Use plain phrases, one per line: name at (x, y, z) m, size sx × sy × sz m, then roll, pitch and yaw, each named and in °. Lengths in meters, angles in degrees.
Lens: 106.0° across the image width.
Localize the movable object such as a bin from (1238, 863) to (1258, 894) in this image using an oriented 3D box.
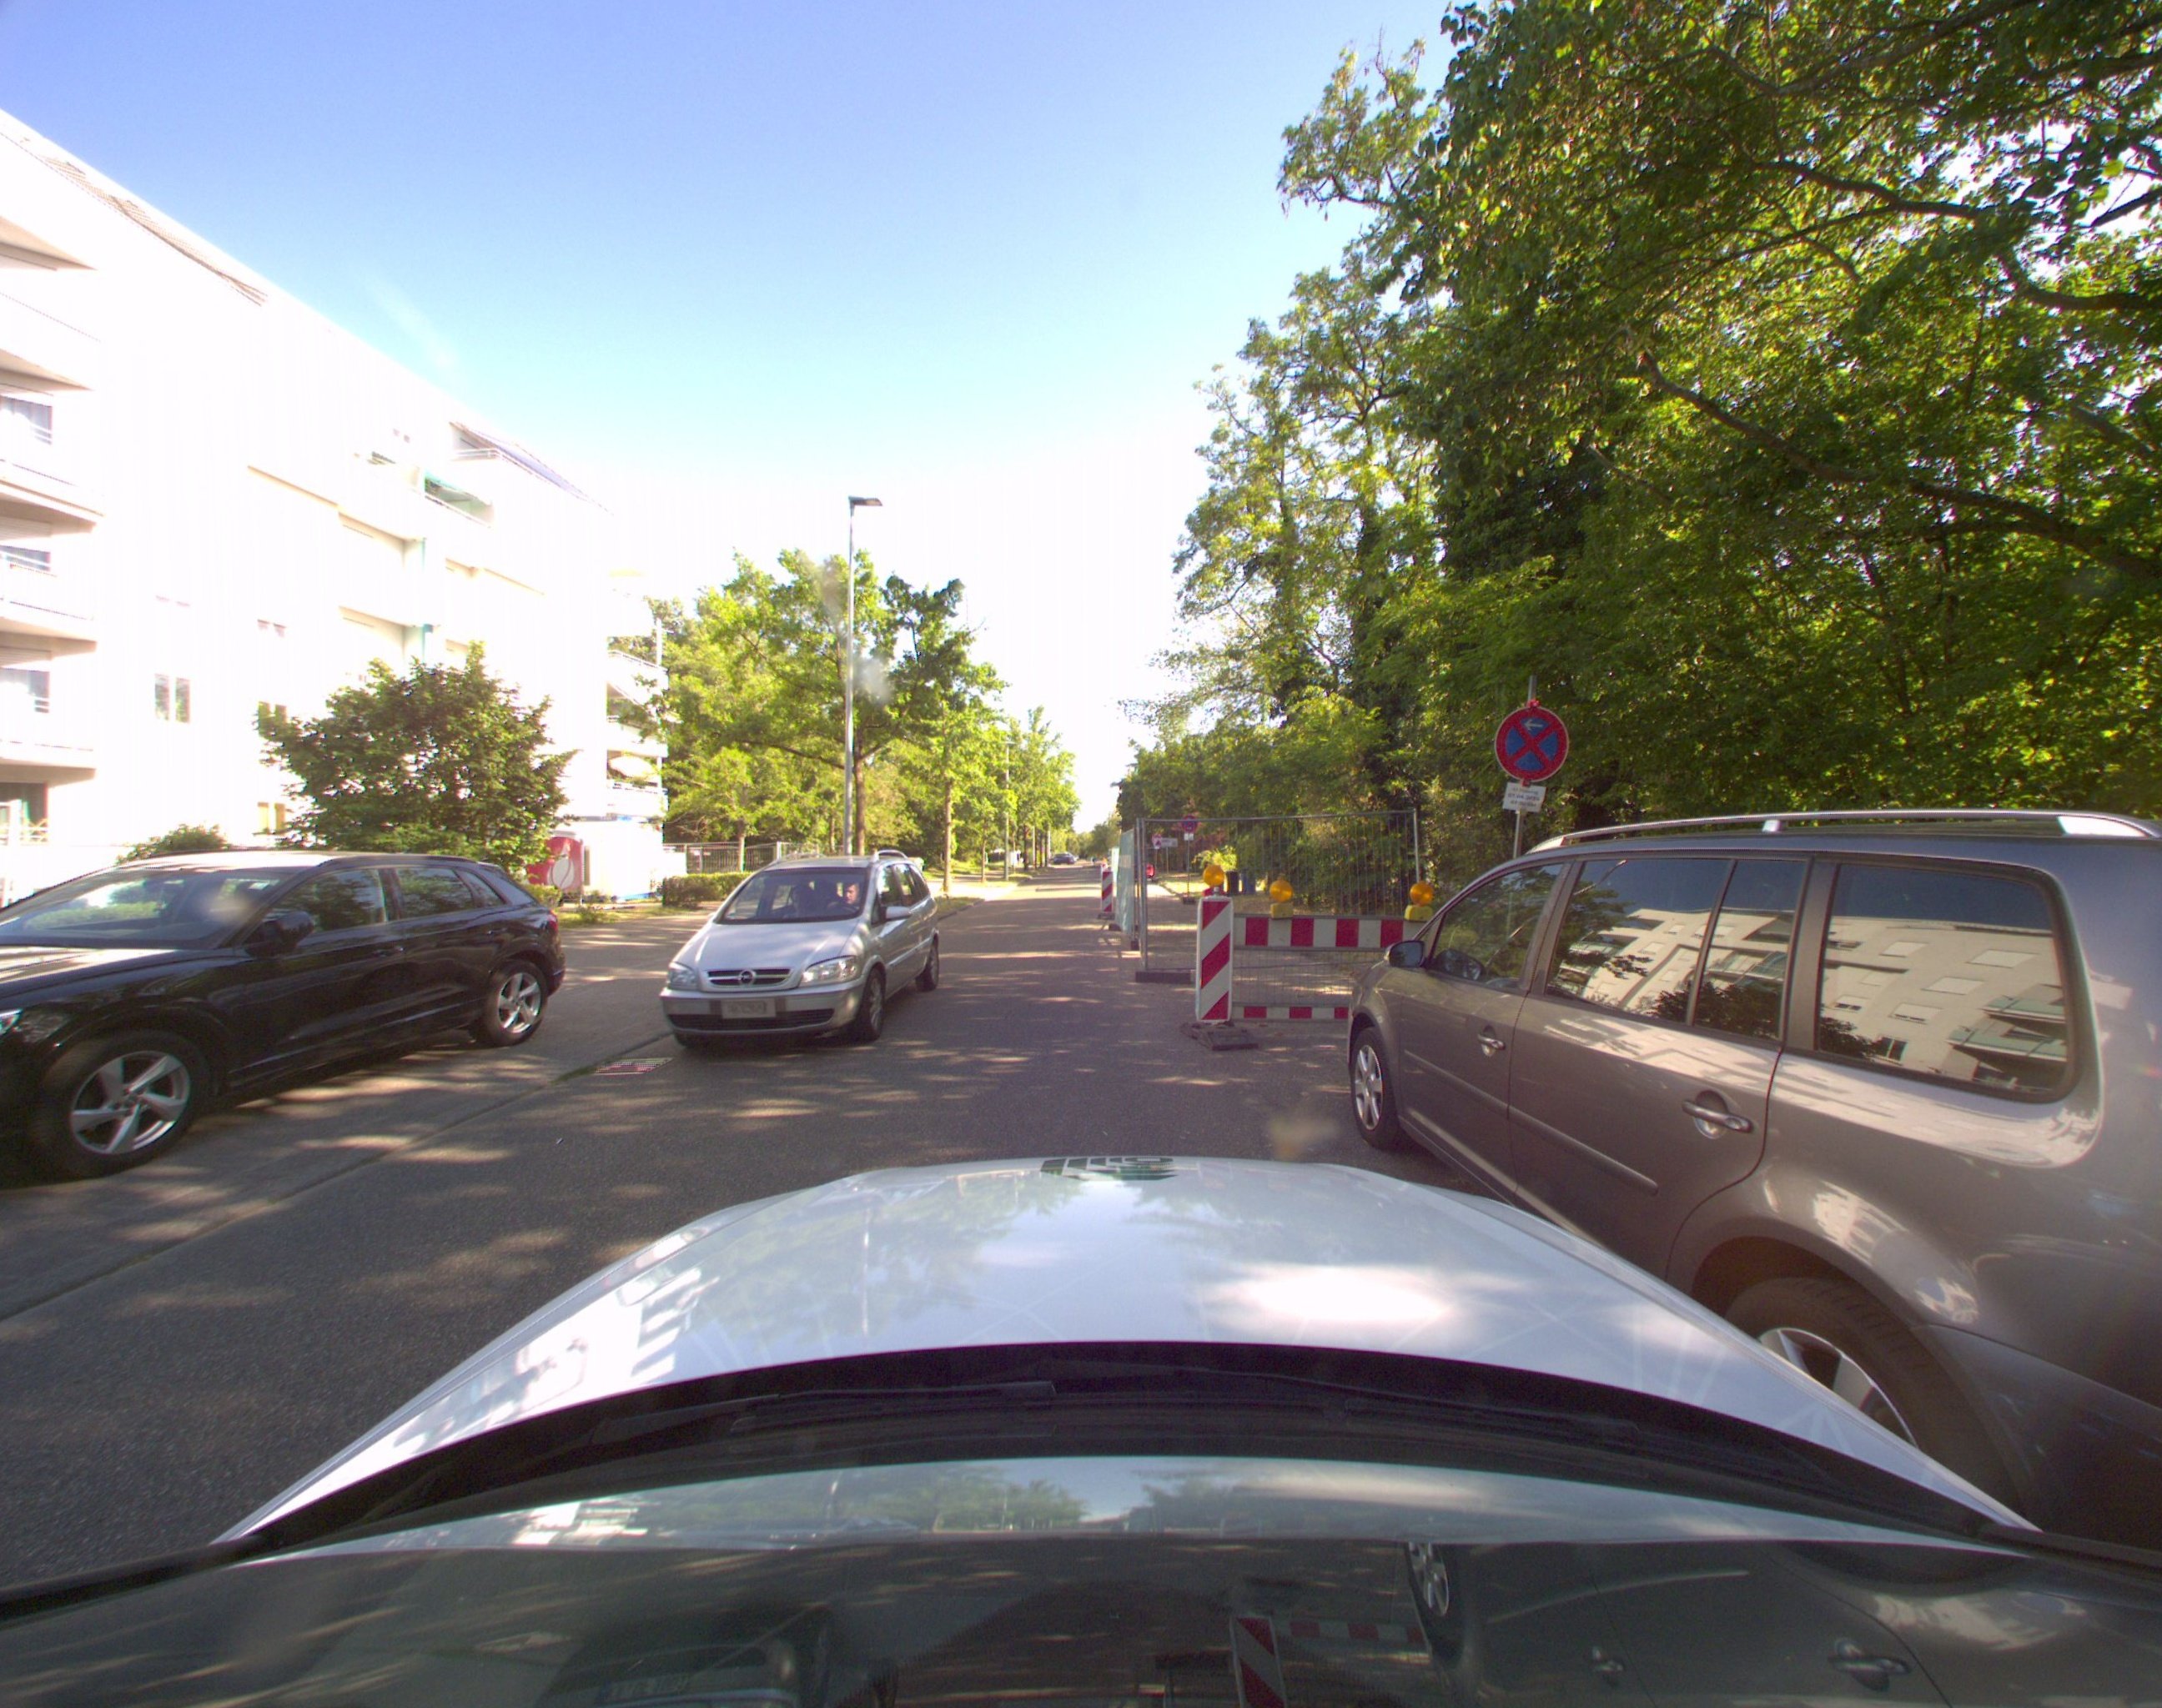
movable object such as a bin at (5.629, 0.830, 27.514) m, size 0.517 × 0.999 × 0.608 m, roll -2°, pitch -1°, yaw 1°

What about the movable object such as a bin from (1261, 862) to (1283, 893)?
movable object such as a bin at (6.479, 0.794, 27.606) m, size 0.560 × 0.999 × 0.608 m, roll -2°, pitch -1°, yaw 1°

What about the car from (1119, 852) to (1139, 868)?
car at (5.517, 0.724, 93.940) m, size 1.786 × 1.785 × 4.553 m, roll 1°, pitch 0°, yaw -2°

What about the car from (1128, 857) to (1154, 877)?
car at (4.258, 0.921, 58.198) m, size 1.655 × 1.375 × 4.155 m, roll 1°, pitch 0°, yaw 1°

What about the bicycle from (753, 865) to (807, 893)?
bicycle at (-11.564, 0.948, 31.320) m, size 1.870 × 1.027 × 0.399 m, roll -1°, pitch -1°, yaw -12°

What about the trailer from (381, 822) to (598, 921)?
trailer at (-14.236, 0.378, 19.999) m, size 1.855 × 2.120 × 4.351 m, roll 1°, pitch 0°, yaw 5°

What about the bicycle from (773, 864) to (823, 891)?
bicycle at (-11.374, 0.940, 32.734) m, size 1.839 × 1.027 × 0.399 m, roll -1°, pitch -1°, yaw -12°

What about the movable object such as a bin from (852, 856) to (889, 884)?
movable object such as a bin at (-10.861, 0.821, 42.049) m, size 1.257 × 1.435 × 1.334 m, roll -1°, pitch 0°, yaw 29°

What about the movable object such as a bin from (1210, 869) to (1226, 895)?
movable object such as a bin at (4.627, 0.940, 27.544) m, size 0.411 × 0.870 × 0.484 m, roll -2°, pitch -1°, yaw 1°

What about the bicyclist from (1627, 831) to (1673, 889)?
bicyclist at (15.180, 0.162, 21.752) m, size 0.630 × 1.499 × 0.840 m, roll 0°, pitch 0°, yaw 0°

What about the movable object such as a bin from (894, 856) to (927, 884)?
movable object such as a bin at (-9.021, 0.863, 43.172) m, size 1.259 × 1.435 × 1.187 m, roll -1°, pitch 0°, yaw 17°

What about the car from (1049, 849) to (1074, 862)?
car at (-4.135, 0.307, 173.228) m, size 5.189 × 2.621 × 2.290 m, roll 1°, pitch 0°, yaw -4°

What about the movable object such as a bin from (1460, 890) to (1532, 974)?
movable object such as a bin at (4.499, 0.833, 8.855) m, size 0.482 × 0.861 × 0.559 m, roll 0°, pitch 0°, yaw -2°

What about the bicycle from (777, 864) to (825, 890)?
bicycle at (-11.538, 0.950, 33.629) m, size 1.839 × 1.027 × 0.399 m, roll -1°, pitch -1°, yaw -12°

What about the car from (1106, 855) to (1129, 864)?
car at (6.446, 0.917, 143.341) m, size 3.817 × 1.576 × 1.692 m, roll 1°, pitch 0°, yaw 7°

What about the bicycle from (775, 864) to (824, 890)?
bicycle at (-11.473, 0.948, 33.206) m, size 1.860 × 1.027 × 0.399 m, roll -1°, pitch -1°, yaw -12°

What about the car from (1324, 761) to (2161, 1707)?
car at (2.334, 0.688, 2.993) m, size 1.673 × 1.621 × 4.137 m, roll 0°, pitch 0°, yaw 0°

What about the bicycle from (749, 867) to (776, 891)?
bicycle at (-13.714, 1.060, 35.084) m, size 0.397 × 1.027 × 1.702 m, roll -1°, pitch -1°, yaw 3°

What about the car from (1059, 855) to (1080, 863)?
car at (-2.372, 1.068, 164.258) m, size 4.090 × 1.576 × 1.960 m, roll 1°, pitch 0°, yaw 3°

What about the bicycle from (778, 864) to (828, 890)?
bicycle at (-11.626, 0.959, 34.094) m, size 1.916 × 1.027 × 0.399 m, roll -1°, pitch -1°, yaw -12°

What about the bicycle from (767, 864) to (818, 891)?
bicycle at (-11.410, 0.934, 32.261) m, size 1.856 × 1.027 × 0.399 m, roll -1°, pitch -1°, yaw -12°

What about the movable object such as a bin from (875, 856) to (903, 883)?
movable object such as a bin at (-10.595, 0.838, 44.899) m, size 1.149 × 1.435 × 1.260 m, roll -1°, pitch 0°, yaw -33°

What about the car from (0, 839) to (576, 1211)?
car at (-5.566, 0.737, 5.351) m, size 1.769 × 1.621 × 4.221 m, roll 1°, pitch 0°, yaw 1°

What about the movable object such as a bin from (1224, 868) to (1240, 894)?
movable object such as a bin at (5.118, 0.919, 27.622) m, size 0.411 × 0.870 × 0.484 m, roll -2°, pitch -1°, yaw 1°

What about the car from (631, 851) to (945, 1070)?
car at (-2.580, 0.823, 8.249) m, size 1.654 × 1.596 × 4.007 m, roll -3°, pitch 0°, yaw 0°

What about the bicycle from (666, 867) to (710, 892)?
bicycle at (-16.423, 1.063, 34.028) m, size 1.686 × 1.027 × 0.401 m, roll -1°, pitch -1°, yaw 6°

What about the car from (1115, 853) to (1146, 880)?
car at (3.191, 0.764, 51.390) m, size 1.801 × 1.651 × 4.427 m, roll 1°, pitch 0°, yaw 5°
